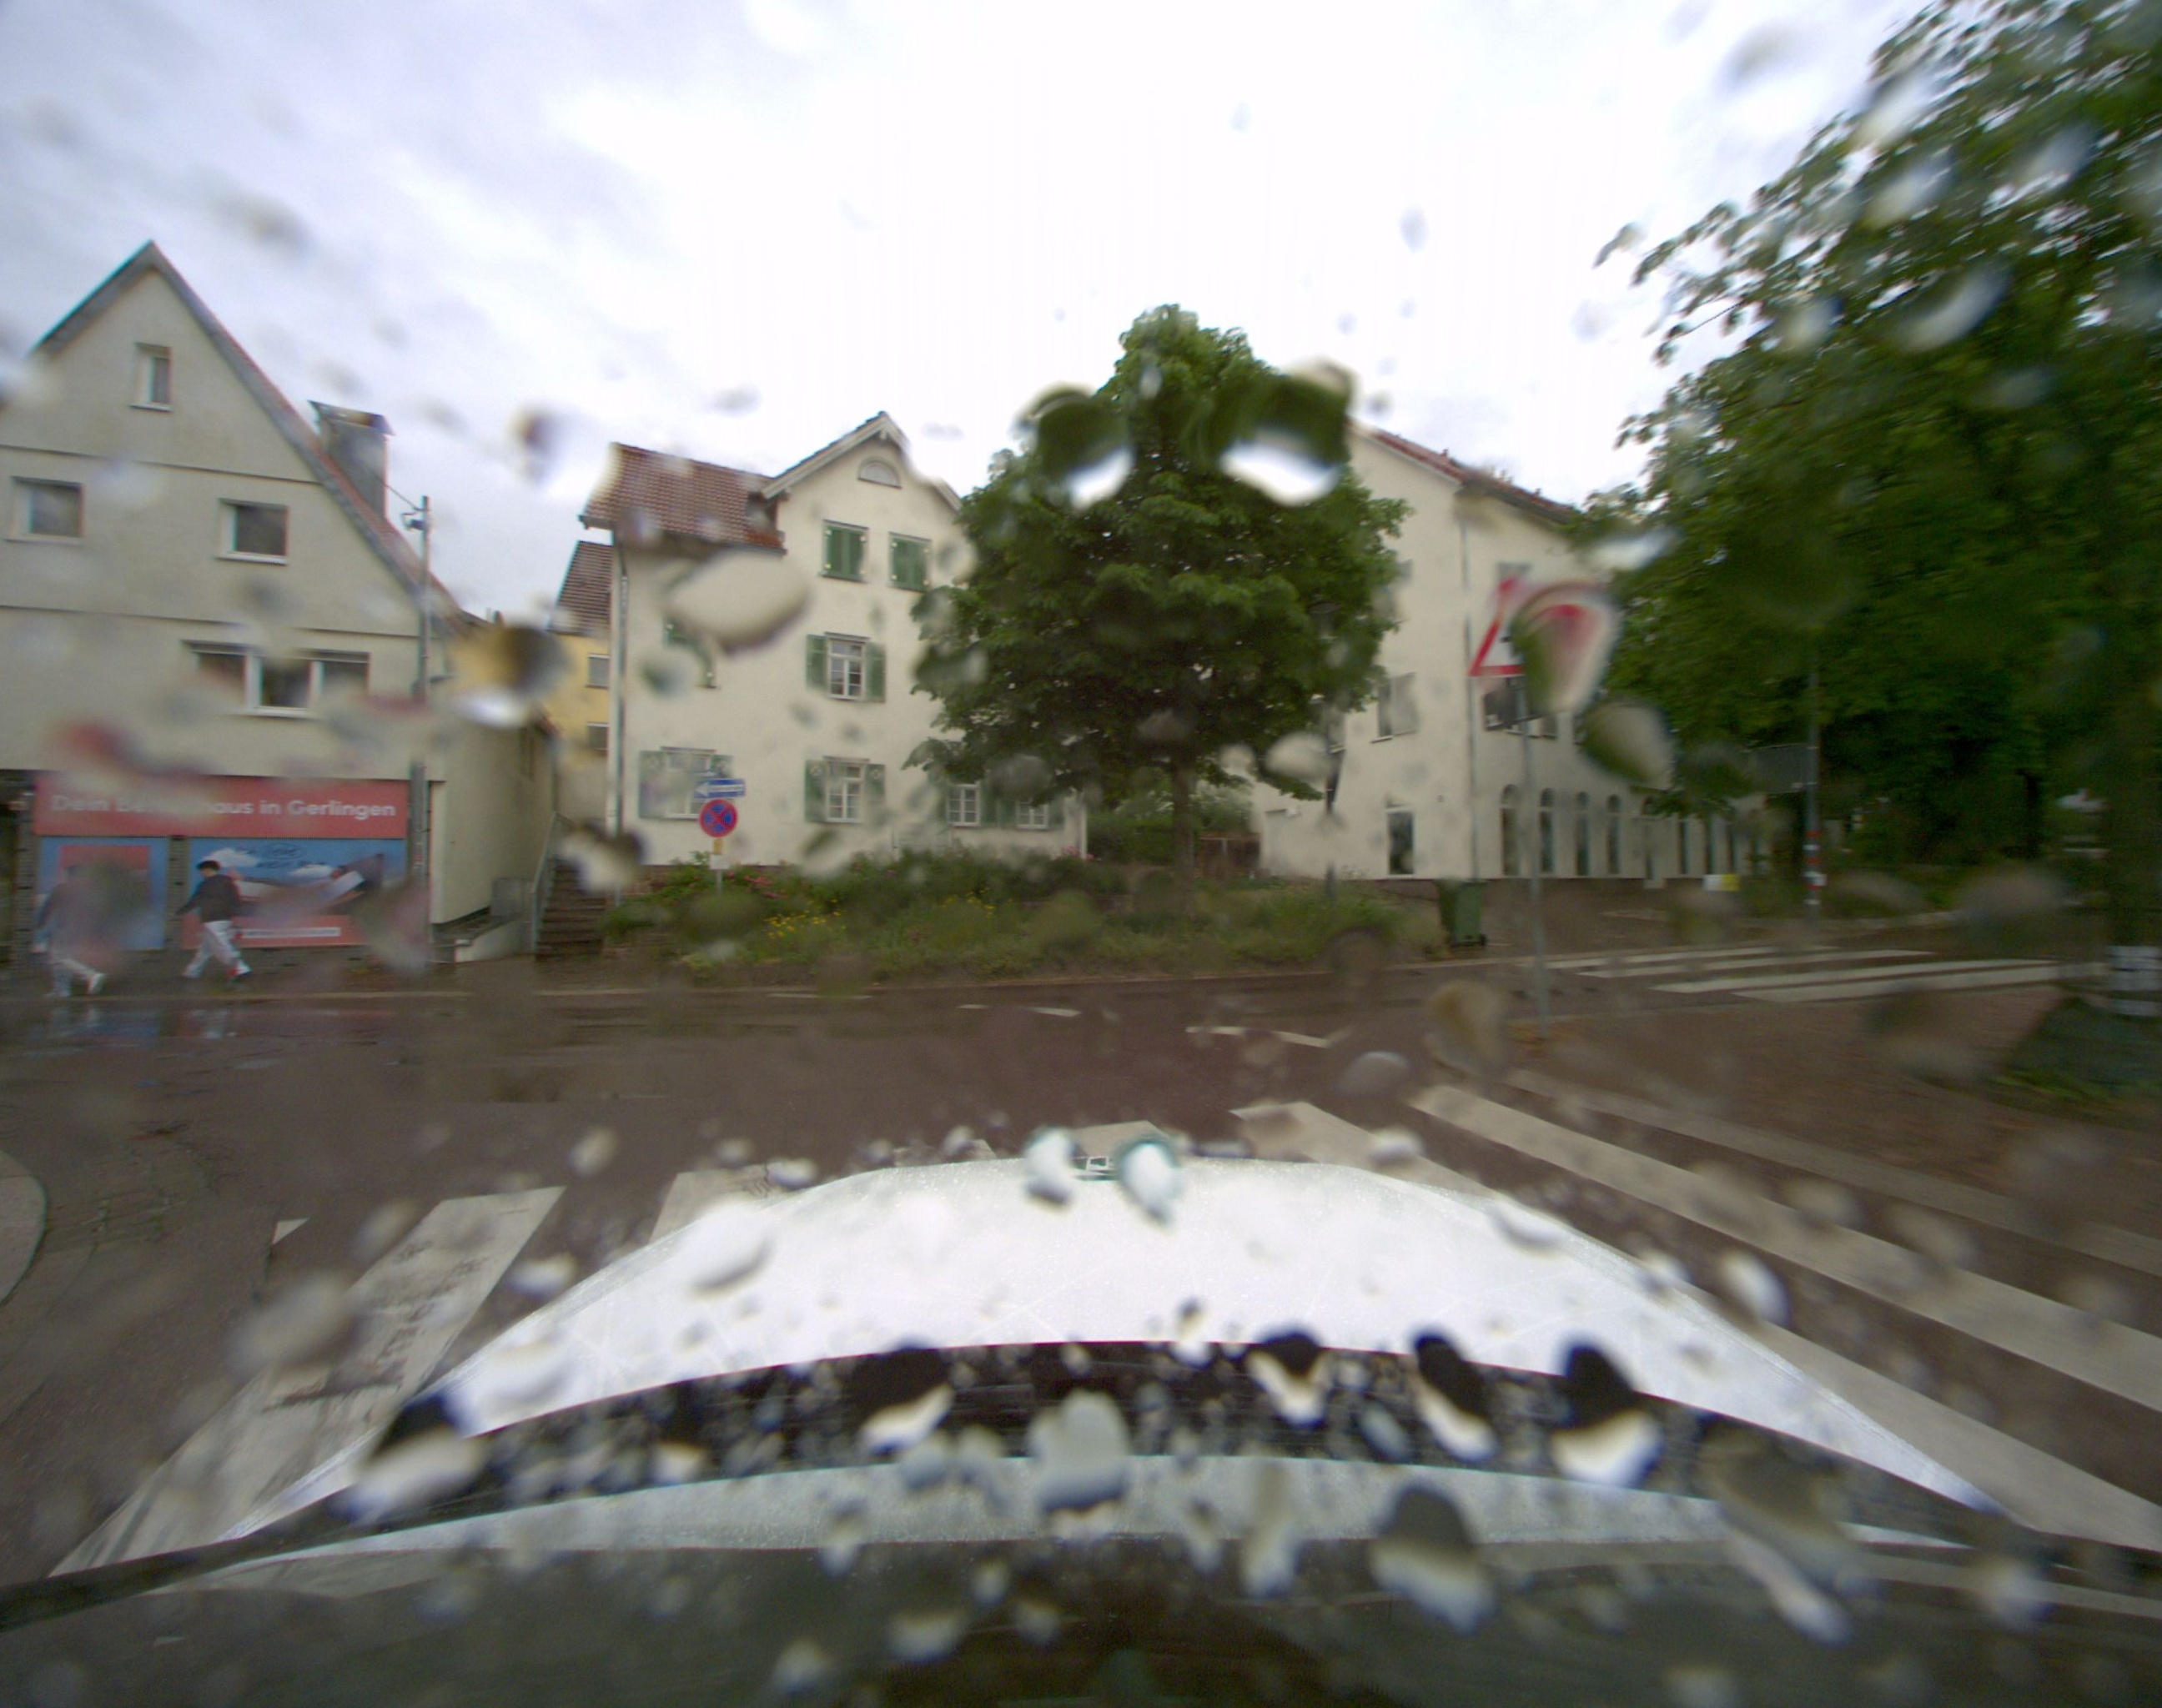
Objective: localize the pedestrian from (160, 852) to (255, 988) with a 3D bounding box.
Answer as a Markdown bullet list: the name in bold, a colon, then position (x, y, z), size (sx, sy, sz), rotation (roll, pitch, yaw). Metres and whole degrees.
- **pedestrian**: position (-13.516, 0.997, 12.626), size (0.760, 2.014, 0.649), rotation (-1, -2, -15)

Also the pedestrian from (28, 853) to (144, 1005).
- **pedestrian**: position (-13.803, 1.013, 11.326), size (0.760, 2.014, 0.649), rotation (-1, -2, -15)

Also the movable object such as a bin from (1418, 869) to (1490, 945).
- **movable object such as a bin**: position (5.805, 0.818, 12.703), size (0.651, 1.124, 0.733), rotation (-1, -2, -25)
